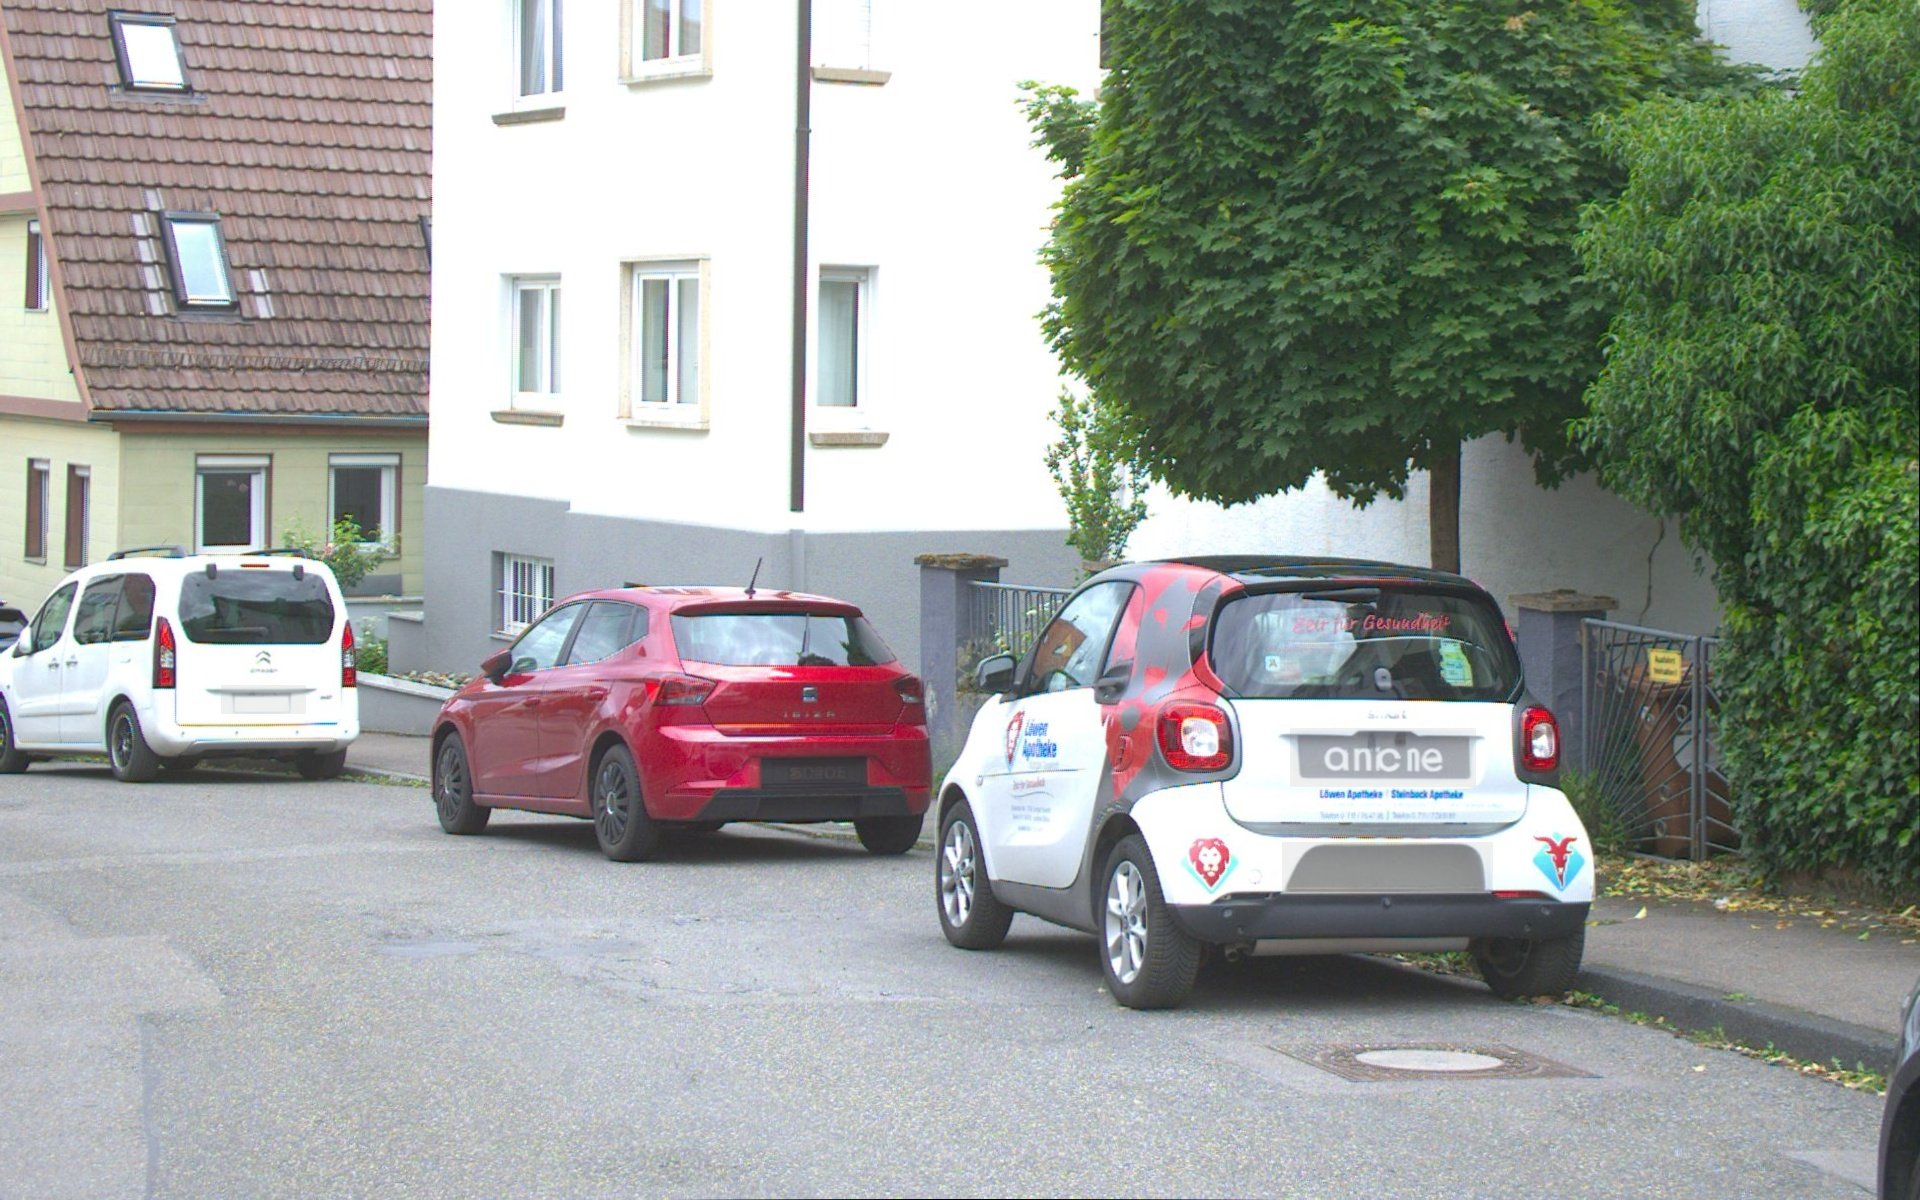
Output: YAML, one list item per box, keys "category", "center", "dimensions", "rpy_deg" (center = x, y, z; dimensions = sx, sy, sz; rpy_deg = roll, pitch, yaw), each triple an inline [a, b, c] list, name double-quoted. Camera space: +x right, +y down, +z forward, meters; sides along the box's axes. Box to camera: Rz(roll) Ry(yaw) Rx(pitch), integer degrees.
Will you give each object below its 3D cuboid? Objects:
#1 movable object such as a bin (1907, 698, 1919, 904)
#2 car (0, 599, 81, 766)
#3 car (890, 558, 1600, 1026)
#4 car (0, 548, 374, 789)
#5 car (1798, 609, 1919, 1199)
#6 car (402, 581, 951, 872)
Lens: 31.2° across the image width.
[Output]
- category: "movable object such as a bin"
  center: [3.654, 0.788, 12.038]
  dimensions: [0.438, 0.910, 0.446]
  rpy_deg: [-3, 0, -13]
- category: "car"
  center: [-9.966, 0.786, 32.396]
  dimensions: [1.733, 1.501, 4.049]
  rpy_deg: [1, -2, -39]
- category: "car"
  center: [0.950, 0.645, 12.839]
  dimensions: [1.611, 1.527, 2.898]
  rpy_deg: [2, 0, -18]
- category: "car"
  center: [-6.579, 0.535, 28.073]
  dimensions: [1.835, 1.808, 4.303]
  rpy_deg: [1, -1, -36]
- category: "car"
  center: [2.662, 0.781, 4.275]
  dimensions: [1.717, 1.402, 4.004]
  rpy_deg: [1, 1, -9]
- category: "car"
  center: [-1.685, 0.652, 19.185]
  dimensions: [1.678, 1.447, 3.852]
  rpy_deg: [0, -1, -28]
